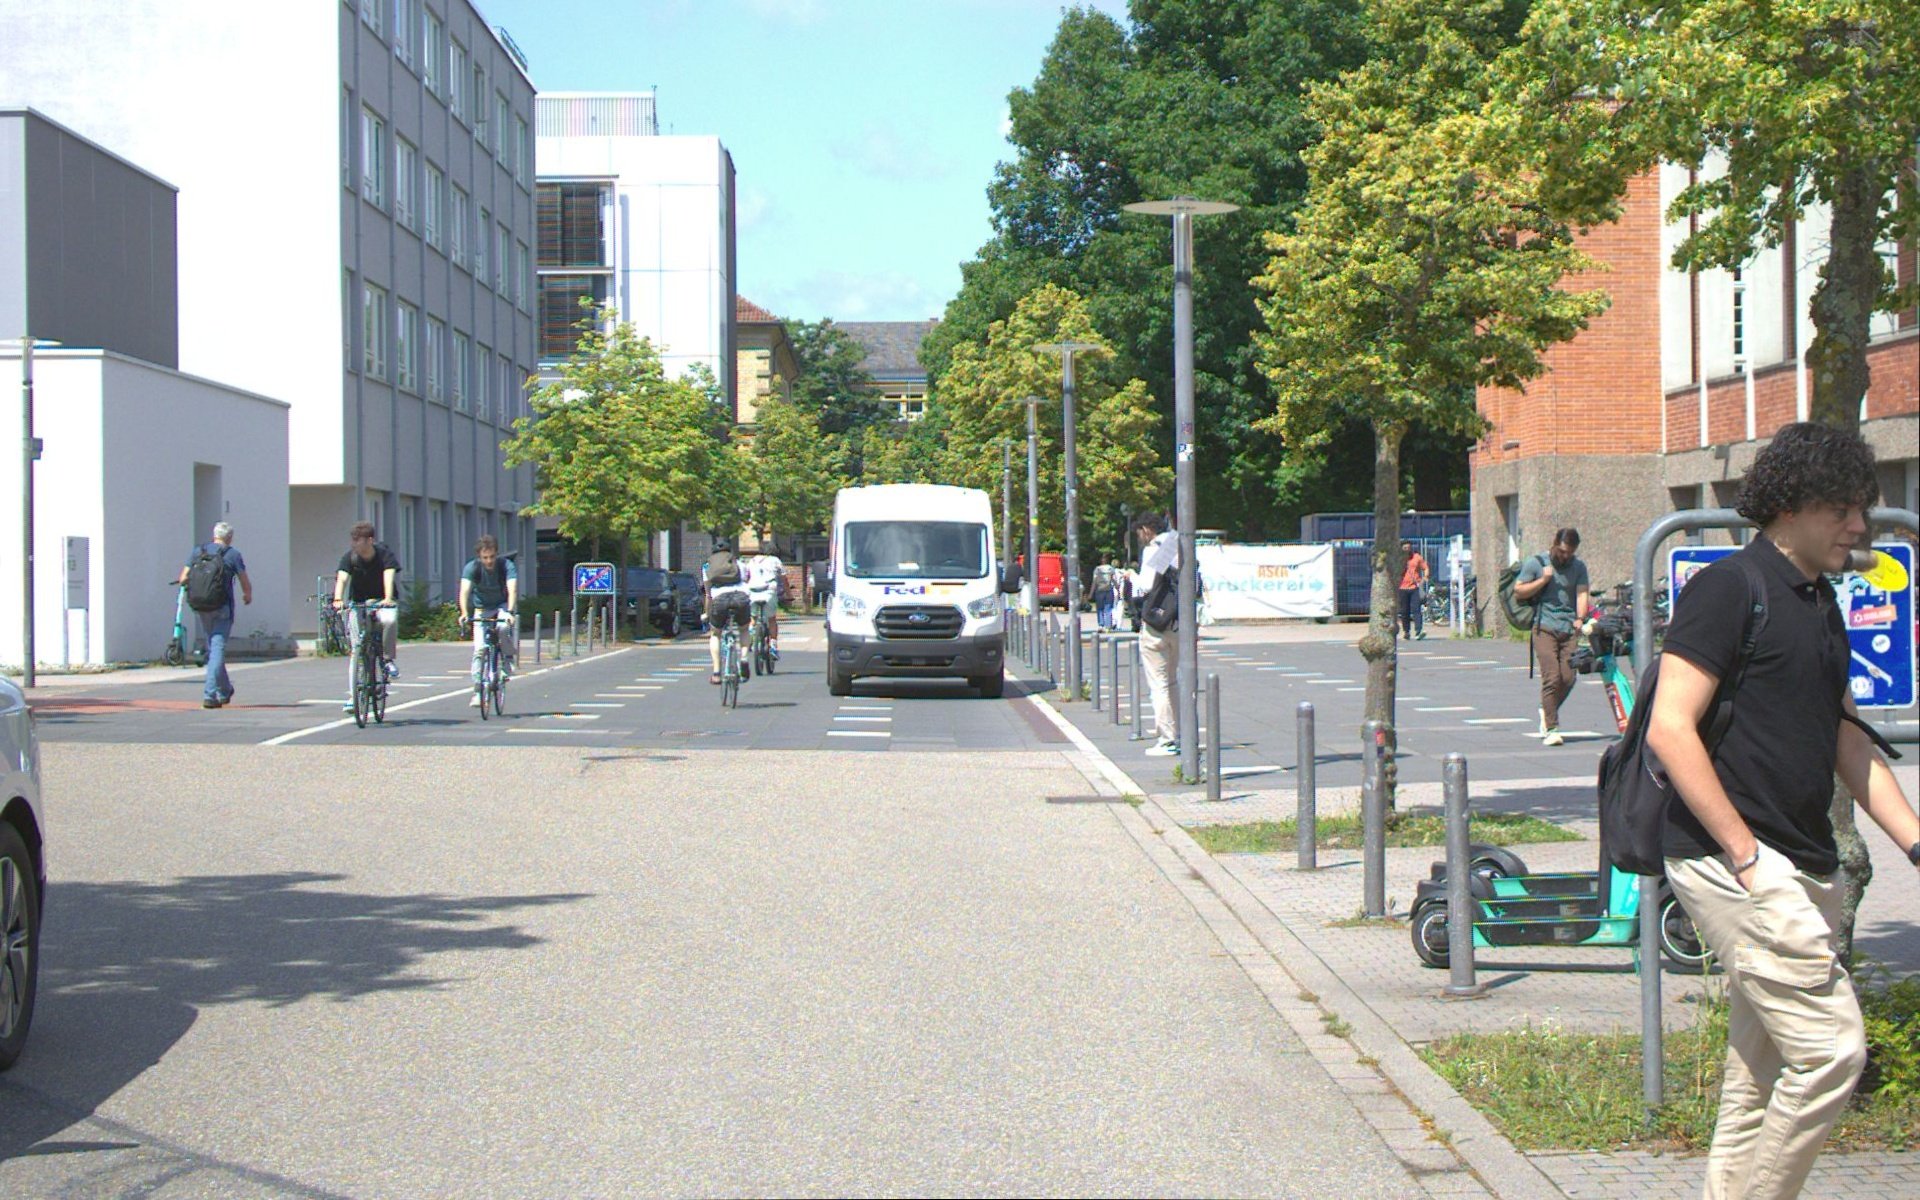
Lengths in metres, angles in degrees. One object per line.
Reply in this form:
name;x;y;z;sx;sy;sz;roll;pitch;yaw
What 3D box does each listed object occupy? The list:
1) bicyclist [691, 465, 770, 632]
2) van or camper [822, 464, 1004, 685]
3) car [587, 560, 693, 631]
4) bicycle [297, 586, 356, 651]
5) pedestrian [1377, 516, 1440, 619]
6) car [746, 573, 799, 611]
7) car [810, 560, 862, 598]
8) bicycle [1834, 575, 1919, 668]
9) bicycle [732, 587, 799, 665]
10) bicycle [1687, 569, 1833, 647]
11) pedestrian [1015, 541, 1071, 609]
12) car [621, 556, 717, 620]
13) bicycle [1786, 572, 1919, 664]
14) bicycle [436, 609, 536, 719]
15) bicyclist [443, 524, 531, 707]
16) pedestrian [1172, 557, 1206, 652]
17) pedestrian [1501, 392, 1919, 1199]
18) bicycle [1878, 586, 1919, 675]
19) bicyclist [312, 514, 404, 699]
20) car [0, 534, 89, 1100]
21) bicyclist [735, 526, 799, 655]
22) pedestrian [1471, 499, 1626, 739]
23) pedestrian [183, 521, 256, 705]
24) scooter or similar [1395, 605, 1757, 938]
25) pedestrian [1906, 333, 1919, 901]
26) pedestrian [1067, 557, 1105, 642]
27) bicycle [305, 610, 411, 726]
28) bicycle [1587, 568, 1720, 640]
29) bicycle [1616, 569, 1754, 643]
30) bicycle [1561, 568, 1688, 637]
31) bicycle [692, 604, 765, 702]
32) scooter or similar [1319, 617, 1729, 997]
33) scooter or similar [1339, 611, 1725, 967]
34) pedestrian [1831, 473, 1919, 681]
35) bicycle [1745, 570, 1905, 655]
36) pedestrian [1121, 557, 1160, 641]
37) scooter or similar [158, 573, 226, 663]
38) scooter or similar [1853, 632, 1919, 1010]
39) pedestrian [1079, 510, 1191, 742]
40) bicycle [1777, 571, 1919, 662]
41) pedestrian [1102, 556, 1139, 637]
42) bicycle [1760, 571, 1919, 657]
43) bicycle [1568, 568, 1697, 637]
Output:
bicyclist;-2.390;-0.525;35.678;0.717;1.657;1.095;-3;-2;-5
van or camper;-0.551;-0.277;40.447;1.993;2.437;4.570;1;0;-1
car;-7.147;-0.116;77.114;1.795;1.525;4.000;-1;1;3
bicycle;-10.133;0.287;55.014;0.523;0.981;1.632;-2;1;3
pedestrian;8.188;-0.588;62.764;0.852;1.853;1.115;-1;1;23
car;-7.812;-0.346;143.580;1.795;1.525;4.000;-1;1;3
car;-5.149;-0.903;142.992;1.795;1.525;4.000;-1;1;3
bicycle;10.593;0.219;37.764;1.809;0.981;0.560;-2;1;-1
bicycle;-2.719;0.349;48.266;0.808;0.999;2.124;1;2;0
bicycle;10.769;0.104;46.294;1.809;0.981;0.560;-2;1;-1
pedestrian;2.575;-0.774;106.421;1.499;1.989;1.646;-4;1;-2
car;-7.119;-0.315;84.528;1.795;1.525;4.000;-1;1;3
bicycle;10.386;0.196;39.108;1.809;0.981;0.560;-2;1;-1
bicycle;-4.436;0.588;32.280;0.677;0.961;2.003;1;1;-1
bicyclist;-4.448;0.140;32.381;0.667;1.676;0.993;-2;0;-1
pedestrian;4.493;0.085;67.552;0.576;1.853;0.570;-1;0;-3
pedestrian;1.507;0.523;6.392;0.802;1.766;0.854;-1;1;20
bicycle;10.604;0.288;36.001;1.809;0.909;0.560;-2;1;-1
bicyclist;-5.315;0.053;30.385;0.643;1.596;0.909;-2;1;-3
car;-3.629;0.578;8.399;1.918;1.613;4.520;2;0;-2
bicyclist;-2.713;-0.141;48.342;0.771;1.750;0.848;3;2;-1
pedestrian;4.395;0.135;25.754;0.853;1.727;1.160;-2;1;-3
pedestrian;-7.264;0.130;33.704;0.666;1.779;0.985;0;-1;-14
scooter or similar;2.457;0.660;13.725;1.262;1.260;0.638;-1;1;31
pedestrian;2.508;0.411;7.381;0.827;1.973;0.691;-1;1;20
pedestrian;2.805;-0.024;76.496;0.790;1.853;1.243;-1;1;0
bicycle;-5.308;0.584;30.414;0.677;0.961;2.003;1;1;-3
bicycle;10.156;0.062;50.360;1.809;0.981;0.560;-2;1;-1
bicycle;10.291;0.081;48.827;1.809;0.981;0.560;-2;1;-1
bicycle;10.183;0.032;52.698;1.809;0.981;0.560;-2;1;-1
bicycle;-2.421;0.546;35.863;0.706;0.990;1.911;0;-1;-5
scooter or similar;1.987;0.701;12.135;1.262;1.260;0.649;-1;1;31
scooter or similar;2.147;0.684;12.910;1.262;1.260;0.649;-1;1;31
pedestrian;8.498;-0.218;31.293;0.790;1.853;1.116;-1;1;-3
bicycle;10.692;0.153;42.518;1.809;0.981;0.560;-2;1;-1
pedestrian;3.998;-0.029;76.252;0.790;1.853;1.026;-1;1;0
scooter or similar;-10.641;0.245;47.674;0.378;1.212;1.204;-1;1;15
scooter or similar;3.297;0.698;11.365;0.649;1.156;1.264;-1;1;15
pedestrian;1.320;0.189;26.046;0.702;1.689;0.962;-3;0;0
bicycle;10.406;0.185;39.618;1.809;0.981;0.560;-2;1;-1
pedestrian;3.727;-0.077;79.805;0.790;1.853;1.026;-1;1;0
bicycle;10.738;0.166;41.917;1.809;0.981;0.560;-2;1;-1
bicycle;10.183;0.034;52.080;1.809;0.981;0.560;-2;1;-1
